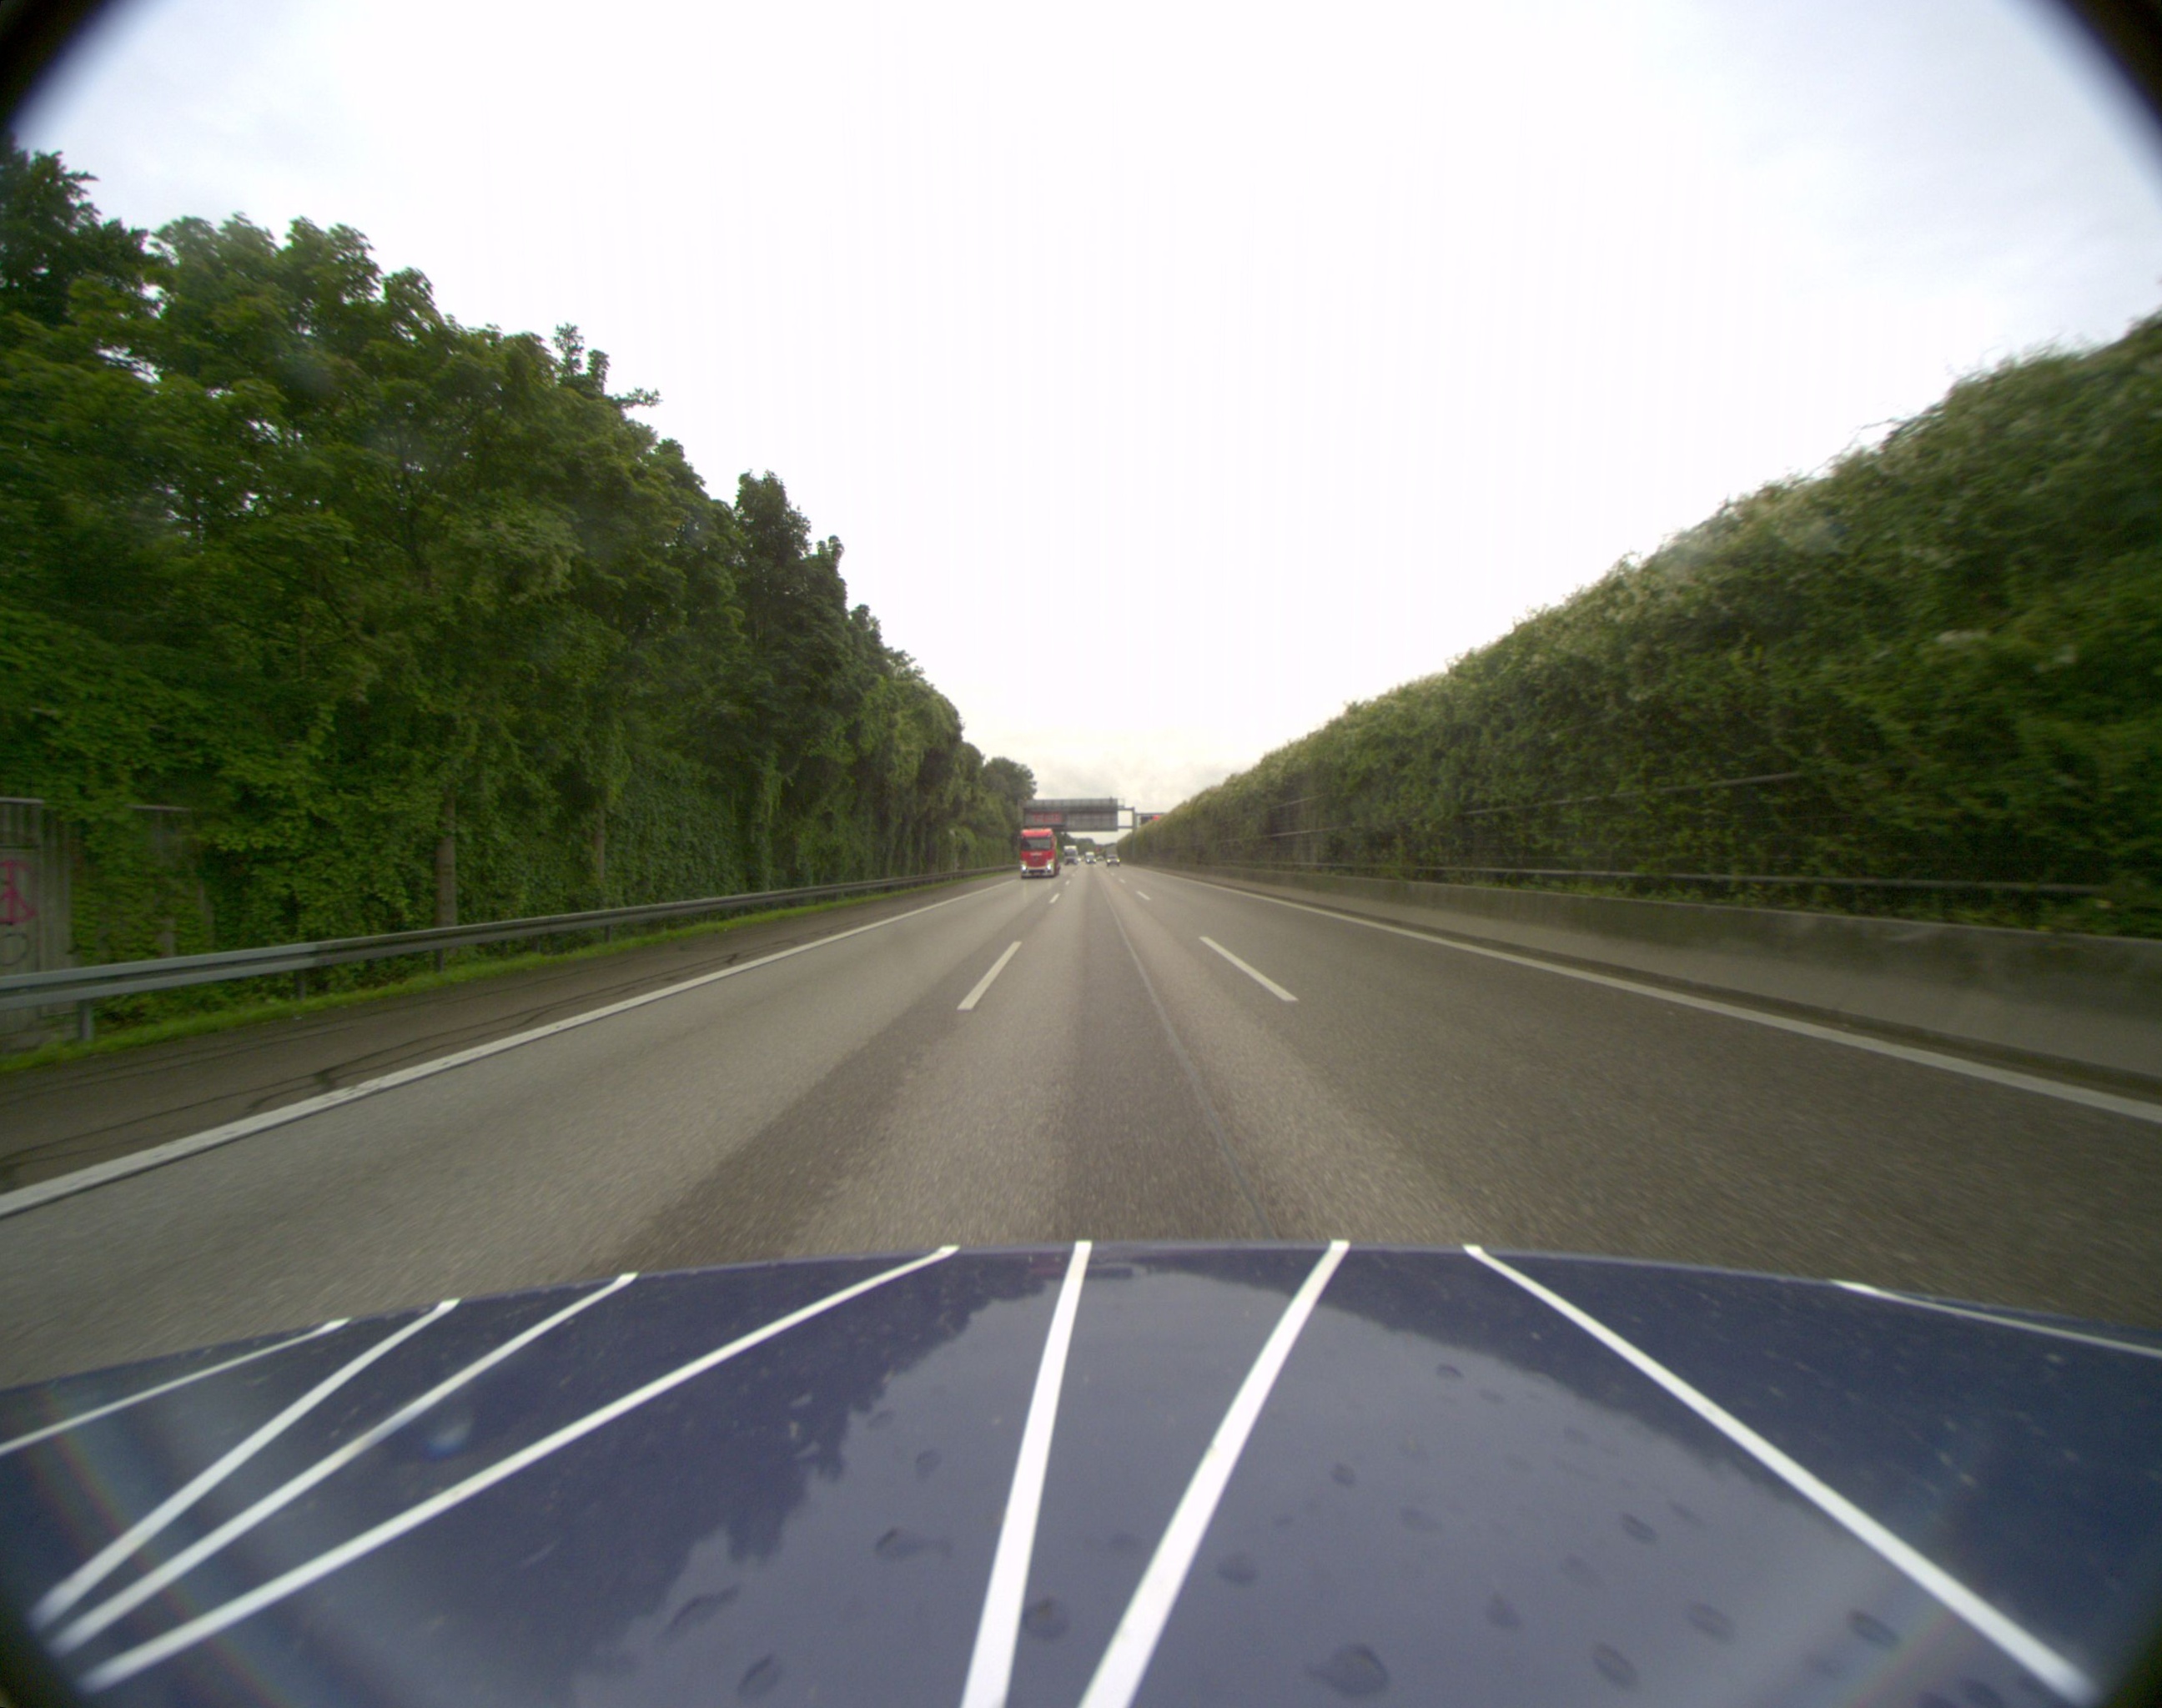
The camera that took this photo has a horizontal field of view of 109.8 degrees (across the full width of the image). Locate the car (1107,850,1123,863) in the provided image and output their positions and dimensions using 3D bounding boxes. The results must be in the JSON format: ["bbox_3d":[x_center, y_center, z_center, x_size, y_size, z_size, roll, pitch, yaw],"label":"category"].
[{"bbox_3d":[5.032,0.326,113.628,2.023,1.595,5.438,-4,1,0],"label":"car"}]

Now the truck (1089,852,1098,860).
[{"bbox_3d":[2.588,0.416,155.823,1.825,1.535,3.999,-3,2,1],"label":"truck"}]

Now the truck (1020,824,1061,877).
[{"bbox_3d":[-3.069,-0.289,58.270,2.708,3.809,4.197,-2,2,1],"label":"truck"}]

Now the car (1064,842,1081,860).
[{"bbox_3d":[-1.718,-0.625,153.828,3.039,3.278,6.733,-3,1,1],"label":"car"}]

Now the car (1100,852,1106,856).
[{"bbox_3d":[7.305,-0.022,252.856,1.751,1.368,4.000,-2,0,1],"label":"car"}]

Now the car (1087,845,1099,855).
[{"bbox_3d":[2.817,-1.014,175.655,2.769,2.227,6.546,-3,1,1],"label":"car"}]

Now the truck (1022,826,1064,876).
[{"bbox_3d":[-3.015,-0.346,62.862,2.708,3.691,9.839,-2,2,1],"label":"truck"}]
